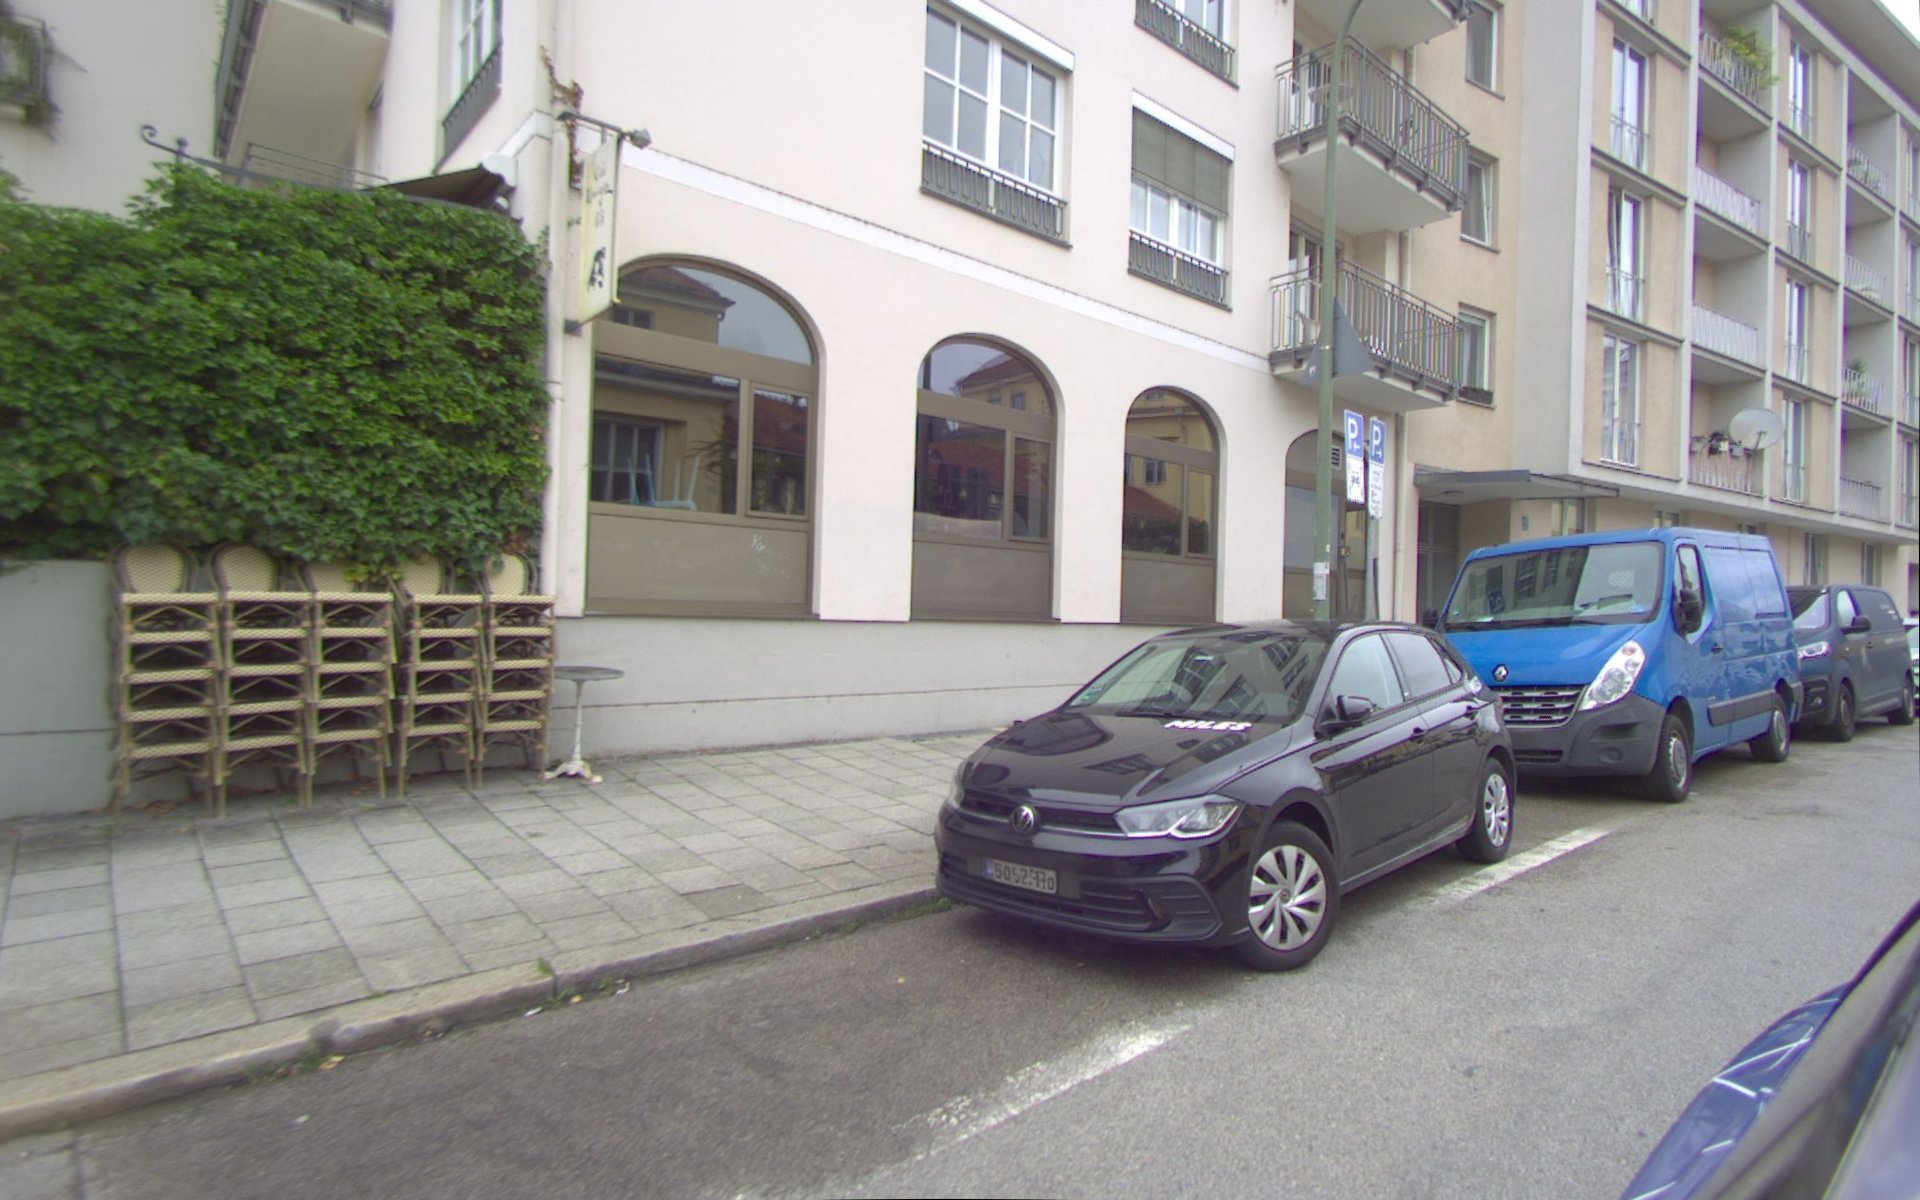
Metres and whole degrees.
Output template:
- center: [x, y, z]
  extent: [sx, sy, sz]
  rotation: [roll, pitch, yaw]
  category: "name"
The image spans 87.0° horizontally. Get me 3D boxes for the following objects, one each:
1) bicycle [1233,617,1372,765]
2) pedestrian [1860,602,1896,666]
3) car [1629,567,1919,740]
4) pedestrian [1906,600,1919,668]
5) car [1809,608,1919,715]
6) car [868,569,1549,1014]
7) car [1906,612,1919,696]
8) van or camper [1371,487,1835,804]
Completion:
- center: [3.144, 0.767, 9.202]
  extent: [0.664, 1.203, 1.566]
  rotation: [1, 0, 40]
  category: "bicycle"
- center: [23.588, 0.863, 26.003]
  extent: [0.549, 1.604, 0.533]
  rotation: [2, 0, -32]
  category: "pedestrian"
- center: [10.774, 0.639, 13.077]
  extent: [4.843, 1.840, 1.969]
  rotation: [1, -3, -37]
  category: "car"
- center: [23.812, 0.845, 24.908]
  extent: [0.618, 1.675, 0.599]
  rotation: [2, 0, -32]
  category: "pedestrian"
- center: [15.396, 0.945, 16.348]
  extent: [4.195, 1.557, 1.743]
  rotation: [1, -2, -38]
  category: "car"
- center: [1.570, 0.729, 5.493]
  extent: [3.891, 1.538, 1.705]
  rotation: [1, -4, -43]
  category: "car"
- center: [19.742, 1.029, 19.083]
  extent: [4.406, 1.518, 1.746]
  rotation: [1, -1, -32]
  category: "car"
- center: [6.355, 0.403, 9.716]
  extent: [5.339, 2.260, 2.064]
  rotation: [1, -4, -39]
  category: "van or camper"
